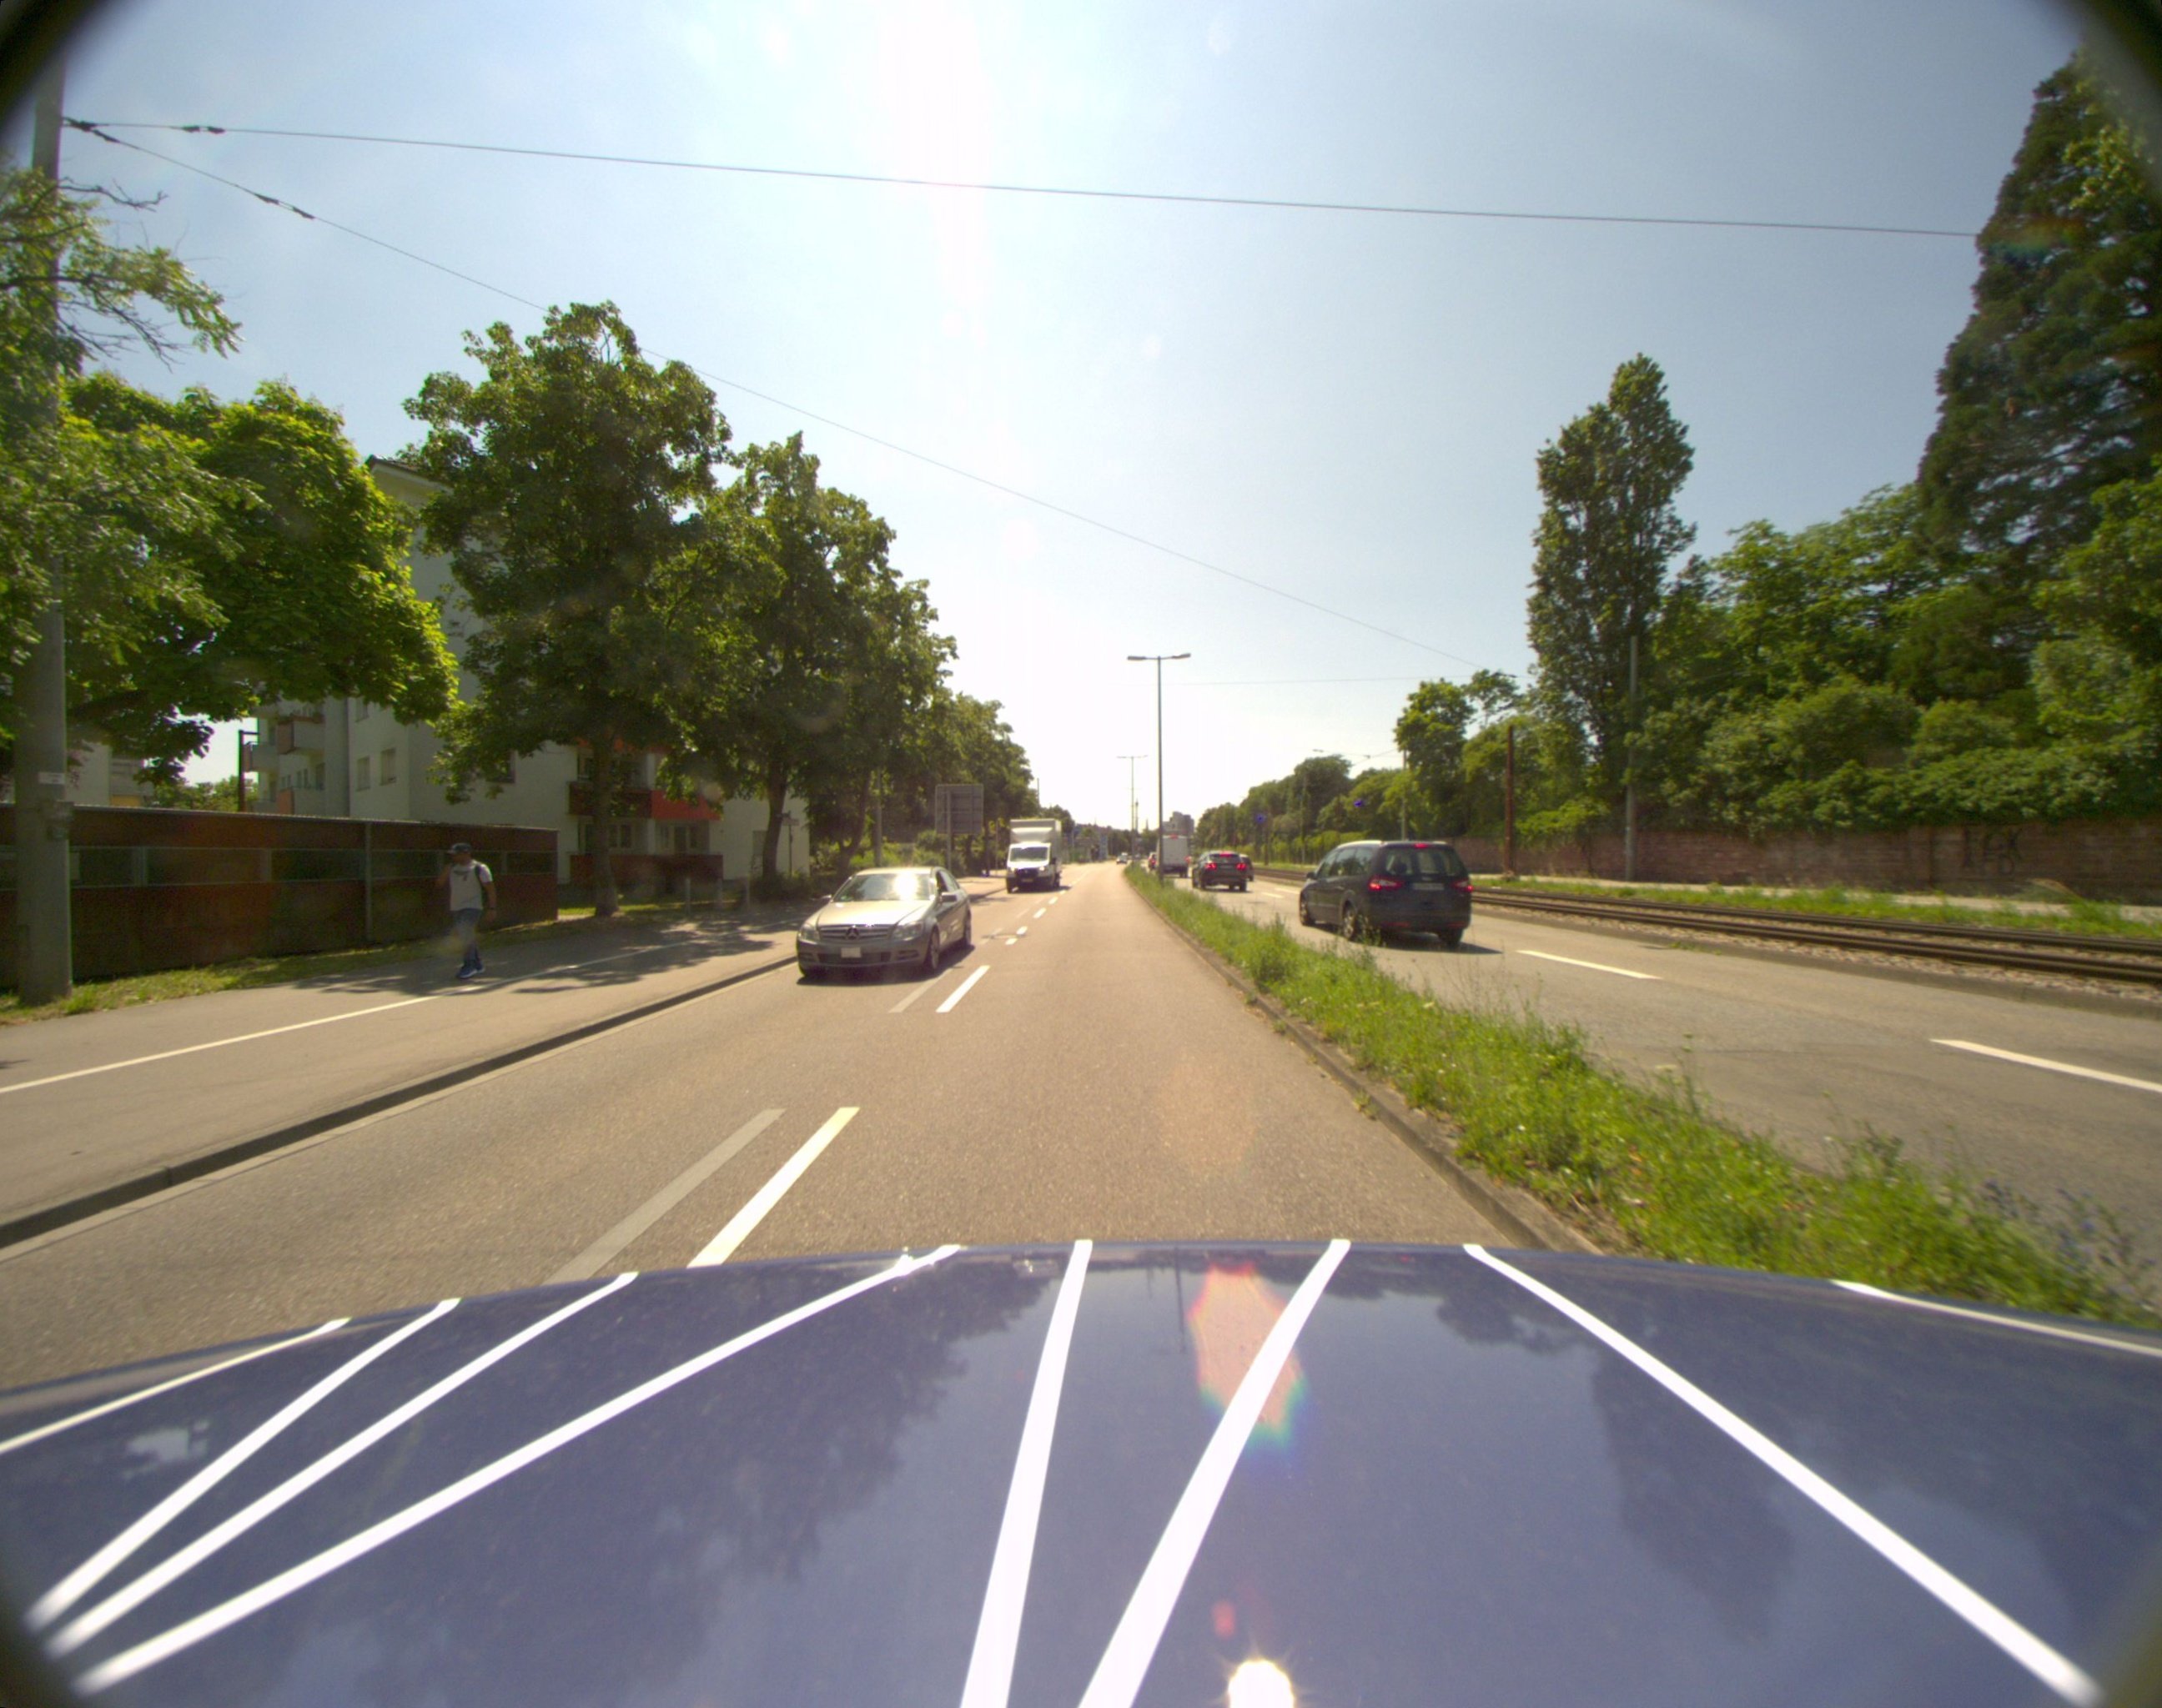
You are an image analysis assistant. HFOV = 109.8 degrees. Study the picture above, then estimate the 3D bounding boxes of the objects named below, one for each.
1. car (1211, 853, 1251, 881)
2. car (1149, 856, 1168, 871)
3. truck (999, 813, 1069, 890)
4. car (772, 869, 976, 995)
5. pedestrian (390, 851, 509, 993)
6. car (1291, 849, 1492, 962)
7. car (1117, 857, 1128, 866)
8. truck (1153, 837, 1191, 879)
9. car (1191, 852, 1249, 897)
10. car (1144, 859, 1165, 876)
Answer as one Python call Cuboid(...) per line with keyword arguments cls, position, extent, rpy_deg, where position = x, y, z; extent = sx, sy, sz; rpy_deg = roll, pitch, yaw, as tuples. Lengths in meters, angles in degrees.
Cuboid(cls="car", position=(8.989, 0.732, 45.798), extent=(1.833, 1.576, 3.771), rpy_deg=(1, 0, 2))
Cuboid(cls="car", position=(9.073, 1.109, 88.881), extent=(1.904, 1.738, 4.588), rpy_deg=(1, 0, 3))
Cuboid(cls="truck", position=(-2.081, -0.127, 36.577), extent=(2.294, 3.259, 8.313), rpy_deg=(-1, 0, 4))
Cuboid(cls="car", position=(-2.835, 1.004, 11.392), extent=(1.903, 1.451, 3.971), rpy_deg=(-2, 0, 0))
Cuboid(cls="pedestrian", position=(-7.590, 0.783, 9.172), extent=(0.670, 1.634, 0.856), rpy_deg=(-1, 1, 1))
Cuboid(cls="car", position=(5.400, 0.791, 13.991), extent=(1.833, 1.703, 4.794), rpy_deg=(1, 0, 2))
Cuboid(cls="car", position=(7.324, 1.269, 134.277), extent=(1.829, 1.556, 4.001), rpy_deg=(-1, 0, 3))
Cuboid(cls="truck", position=(6.201, 0.288, 52.289), extent=(2.086, 2.732, 5.547), rpy_deg=(1, 0, 2))
Cuboid(cls="car", position=(5.829, 0.811, 32.241), extent=(1.833, 1.746, 4.489), rpy_deg=(1, 0, 3))
Cuboid(cls="car", position=(6.805, 1.234, 70.793), extent=(1.720, 1.450, 3.914), rpy_deg=(0, 0, 2))
